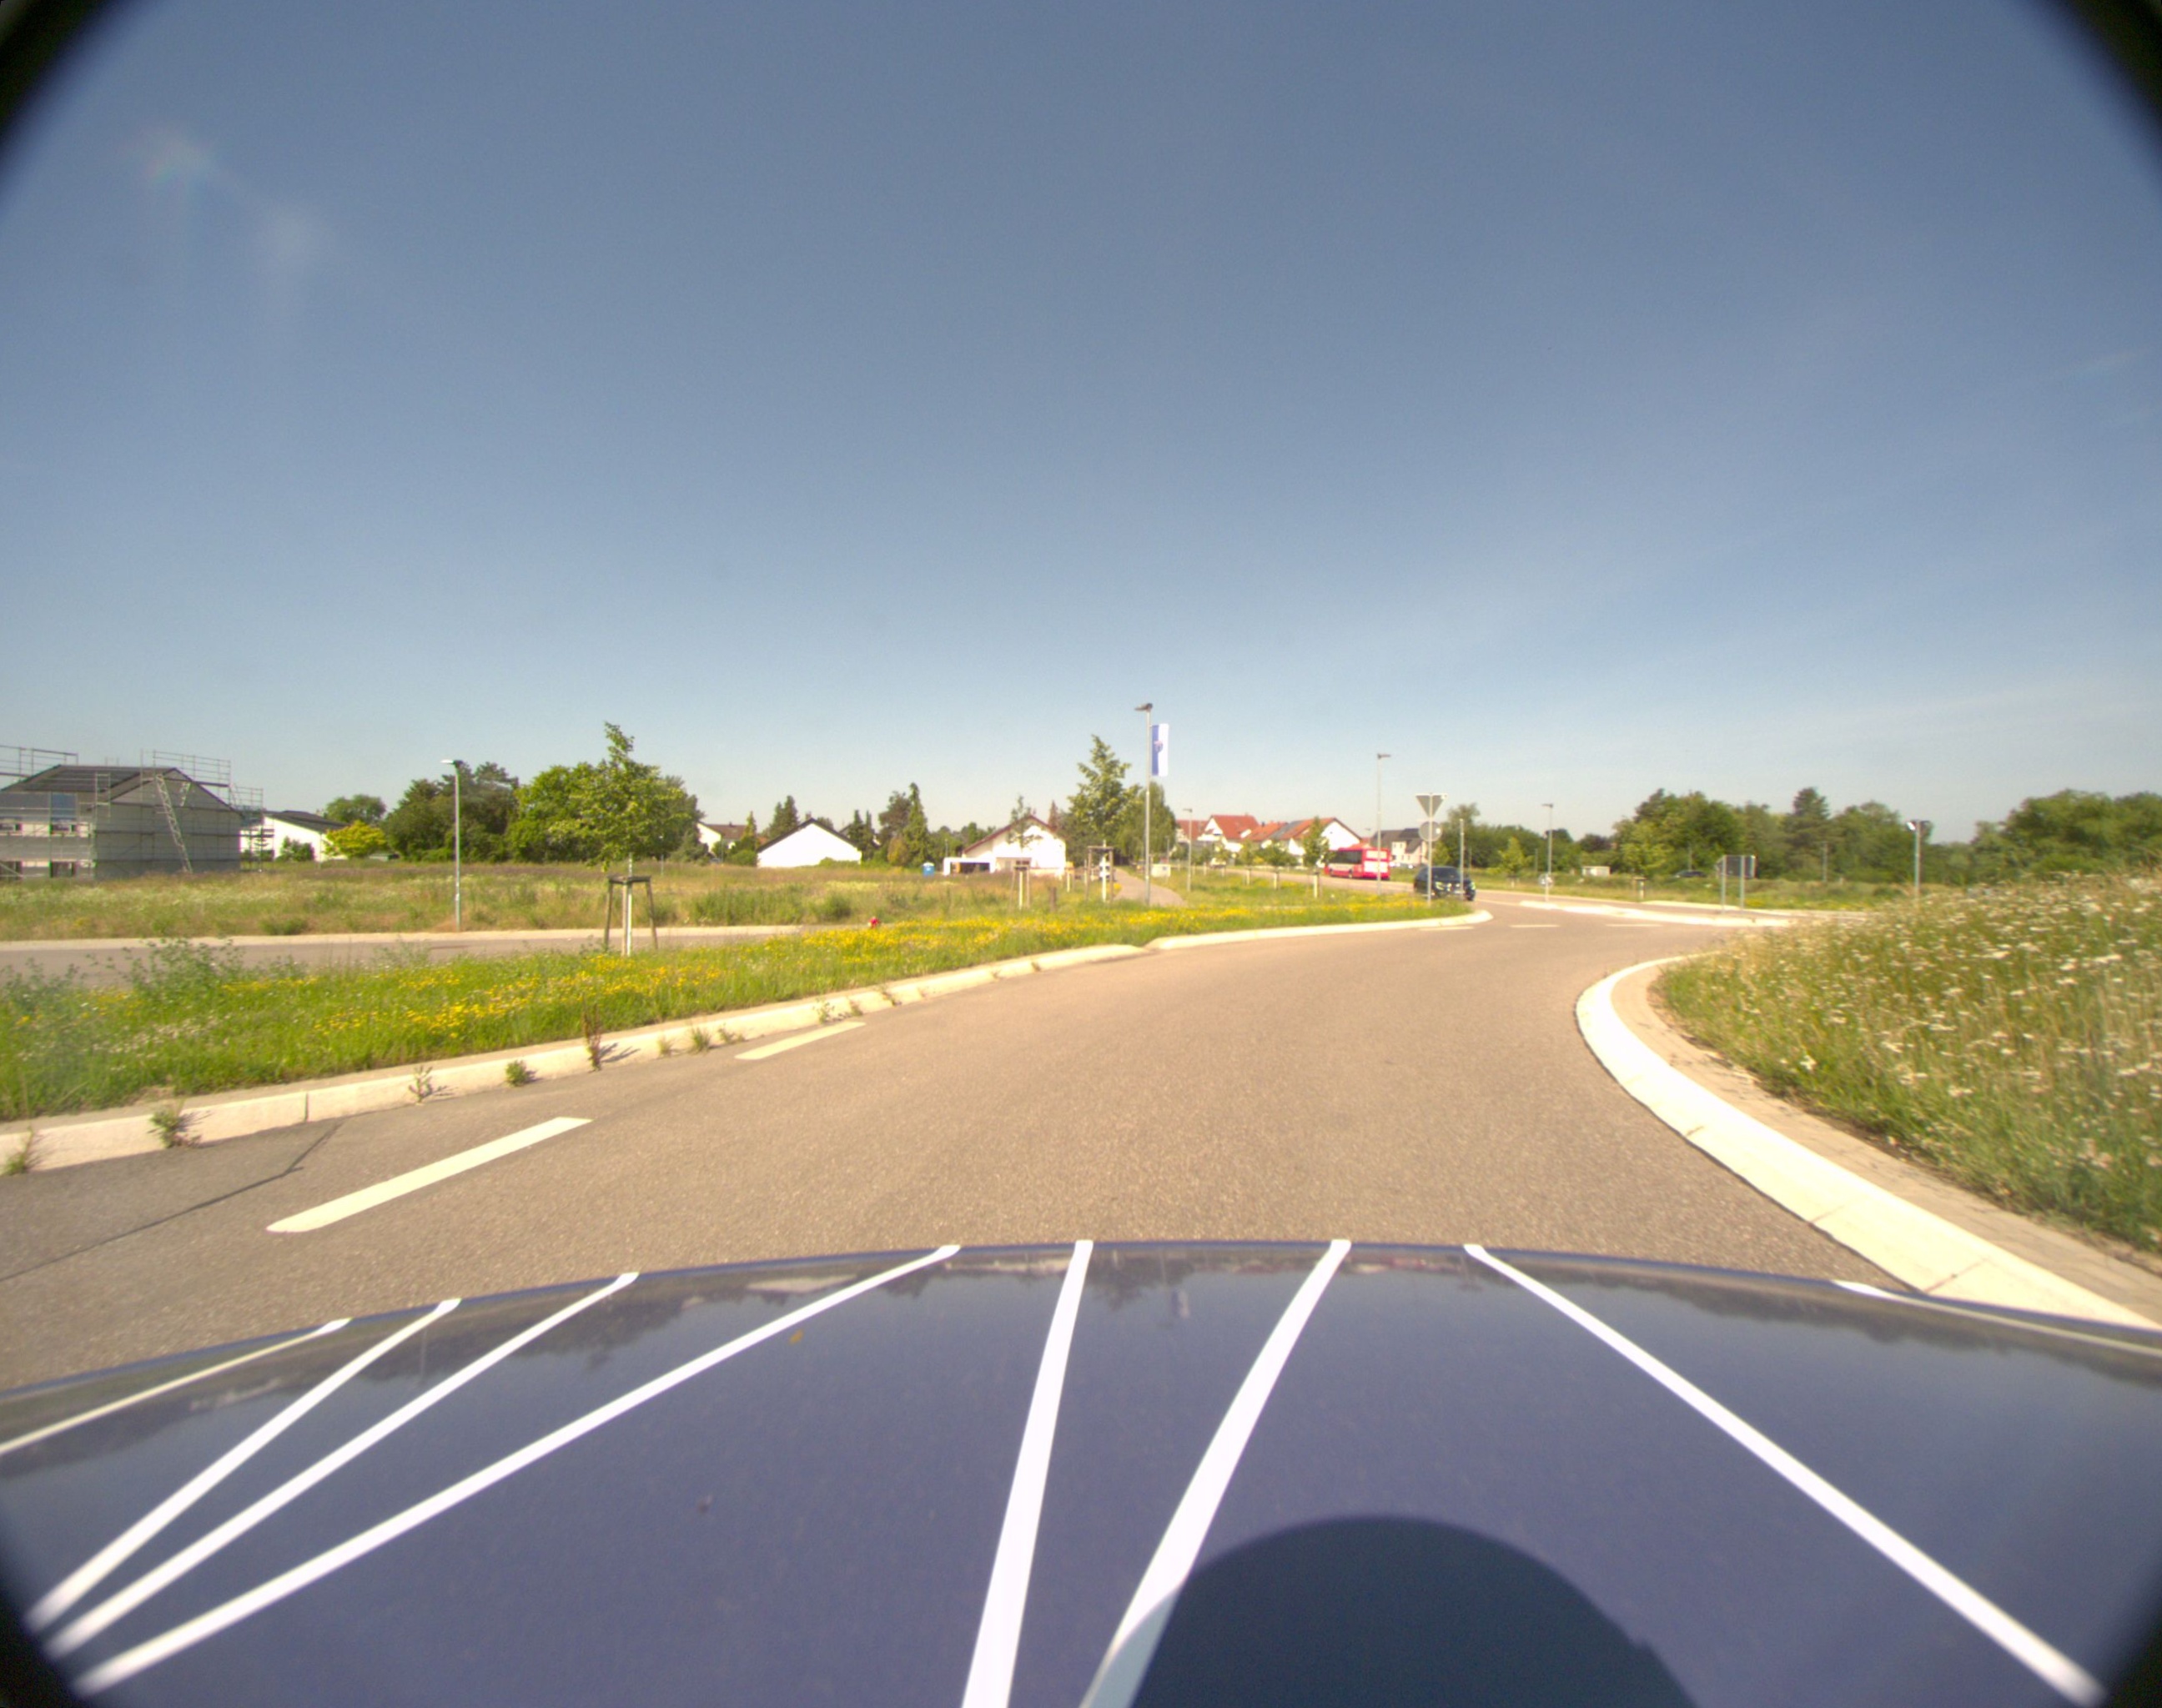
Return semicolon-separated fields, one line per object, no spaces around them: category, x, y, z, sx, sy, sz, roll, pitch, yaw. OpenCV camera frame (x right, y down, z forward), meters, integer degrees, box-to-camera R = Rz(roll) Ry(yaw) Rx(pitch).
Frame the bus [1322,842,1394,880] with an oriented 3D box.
bus;27.164;0.662;75.294;2.801;3.267;12.231;2;0;2

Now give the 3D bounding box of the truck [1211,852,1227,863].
truck;24.995;0.668;137.578;1.956;1.973;5.644;-1;0;1

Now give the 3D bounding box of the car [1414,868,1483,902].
car;18.081;1.503;37.618;1.932;1.552;4.003;0;-1;8
